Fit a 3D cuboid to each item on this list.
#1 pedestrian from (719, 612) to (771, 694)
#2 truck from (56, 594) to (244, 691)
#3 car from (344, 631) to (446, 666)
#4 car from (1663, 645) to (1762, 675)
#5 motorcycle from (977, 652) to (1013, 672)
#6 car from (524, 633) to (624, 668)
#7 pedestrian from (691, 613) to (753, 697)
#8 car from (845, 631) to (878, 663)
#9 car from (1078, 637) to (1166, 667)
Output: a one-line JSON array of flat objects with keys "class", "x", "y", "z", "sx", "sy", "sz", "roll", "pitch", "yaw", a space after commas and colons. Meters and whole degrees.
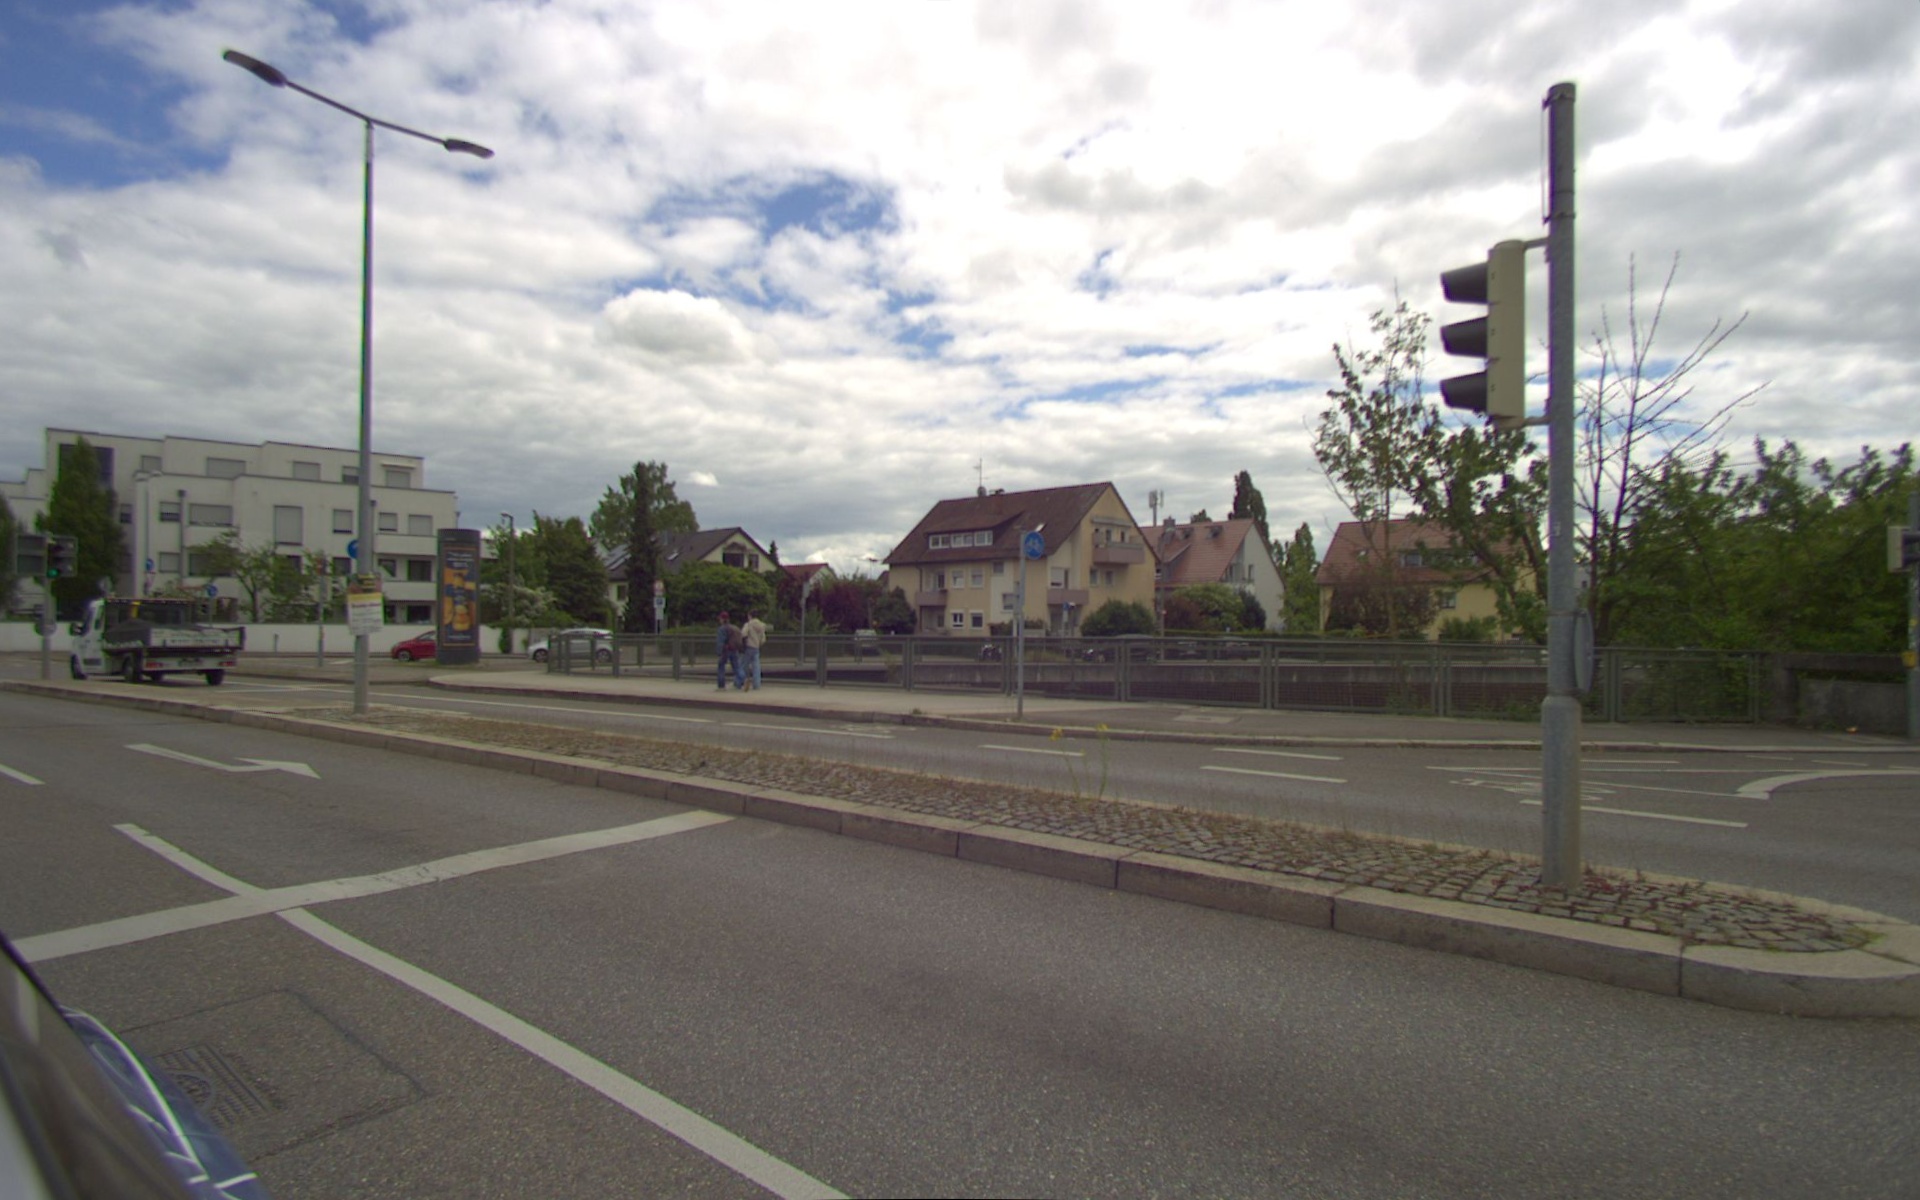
[{"class": "pedestrian", "x": -4.480, "y": 1.086, "z": 21.064, "sx": 0.829, "sy": 1.646, "sz": 0.651, "roll": -1, "pitch": -1, "yaw": 29}, {"class": "truck", "x": -21.541, "y": 1.086, "z": 26.783, "sx": 6.791, "sy": 2.282, "sz": 2.107, "roll": -1, "pitch": -3, "yaw": 36}, {"class": "car", "x": -25.691, "y": 2.214, "z": 46.135, "sx": 3.642, "sy": 1.458, "sz": 1.779, "roll": 2, "pitch": -2, "yaw": -11}, {"class": "car", "x": 42.240, "y": 3.343, "z": 56.880, "sx": 4.307, "sy": 1.619, "sz": 1.903, "roll": 1, "pitch": -2, "yaw": -8}, {"class": "motorcycle", "x": 1.834, "y": 3.290, "z": 53.809, "sx": 0.691, "sy": 1.007, "sz": 2.126, "roll": 7, "pitch": -5, "yaw": -36}, {"class": "car", "x": -17.976, "y": 2.370, "z": 47.287, "sx": 4.063, "sy": 1.547, "sz": 1.651, "roll": 2, "pitch": -4, "yaw": -10}, {"class": "pedestrian", "x": -4.810, "y": 1.099, "z": 20.436, "sx": 1.066, "sy": 1.646, "sz": 0.651, "roll": -1, "pitch": -1, "yaw": 29}, {"class": "car", "x": -5.751, "y": 2.701, "z": 58.838, "sx": 1.759, "sy": 1.592, "sz": 4.006, "roll": -2, "pitch": 0, "yaw": -7}, {"class": "car", "x": 8.743, "y": 2.808, "z": 54.856, "sx": 4.307, "sy": 1.619, "sz": 2.003, "roll": 1, "pitch": -2, "yaw": -7}]
